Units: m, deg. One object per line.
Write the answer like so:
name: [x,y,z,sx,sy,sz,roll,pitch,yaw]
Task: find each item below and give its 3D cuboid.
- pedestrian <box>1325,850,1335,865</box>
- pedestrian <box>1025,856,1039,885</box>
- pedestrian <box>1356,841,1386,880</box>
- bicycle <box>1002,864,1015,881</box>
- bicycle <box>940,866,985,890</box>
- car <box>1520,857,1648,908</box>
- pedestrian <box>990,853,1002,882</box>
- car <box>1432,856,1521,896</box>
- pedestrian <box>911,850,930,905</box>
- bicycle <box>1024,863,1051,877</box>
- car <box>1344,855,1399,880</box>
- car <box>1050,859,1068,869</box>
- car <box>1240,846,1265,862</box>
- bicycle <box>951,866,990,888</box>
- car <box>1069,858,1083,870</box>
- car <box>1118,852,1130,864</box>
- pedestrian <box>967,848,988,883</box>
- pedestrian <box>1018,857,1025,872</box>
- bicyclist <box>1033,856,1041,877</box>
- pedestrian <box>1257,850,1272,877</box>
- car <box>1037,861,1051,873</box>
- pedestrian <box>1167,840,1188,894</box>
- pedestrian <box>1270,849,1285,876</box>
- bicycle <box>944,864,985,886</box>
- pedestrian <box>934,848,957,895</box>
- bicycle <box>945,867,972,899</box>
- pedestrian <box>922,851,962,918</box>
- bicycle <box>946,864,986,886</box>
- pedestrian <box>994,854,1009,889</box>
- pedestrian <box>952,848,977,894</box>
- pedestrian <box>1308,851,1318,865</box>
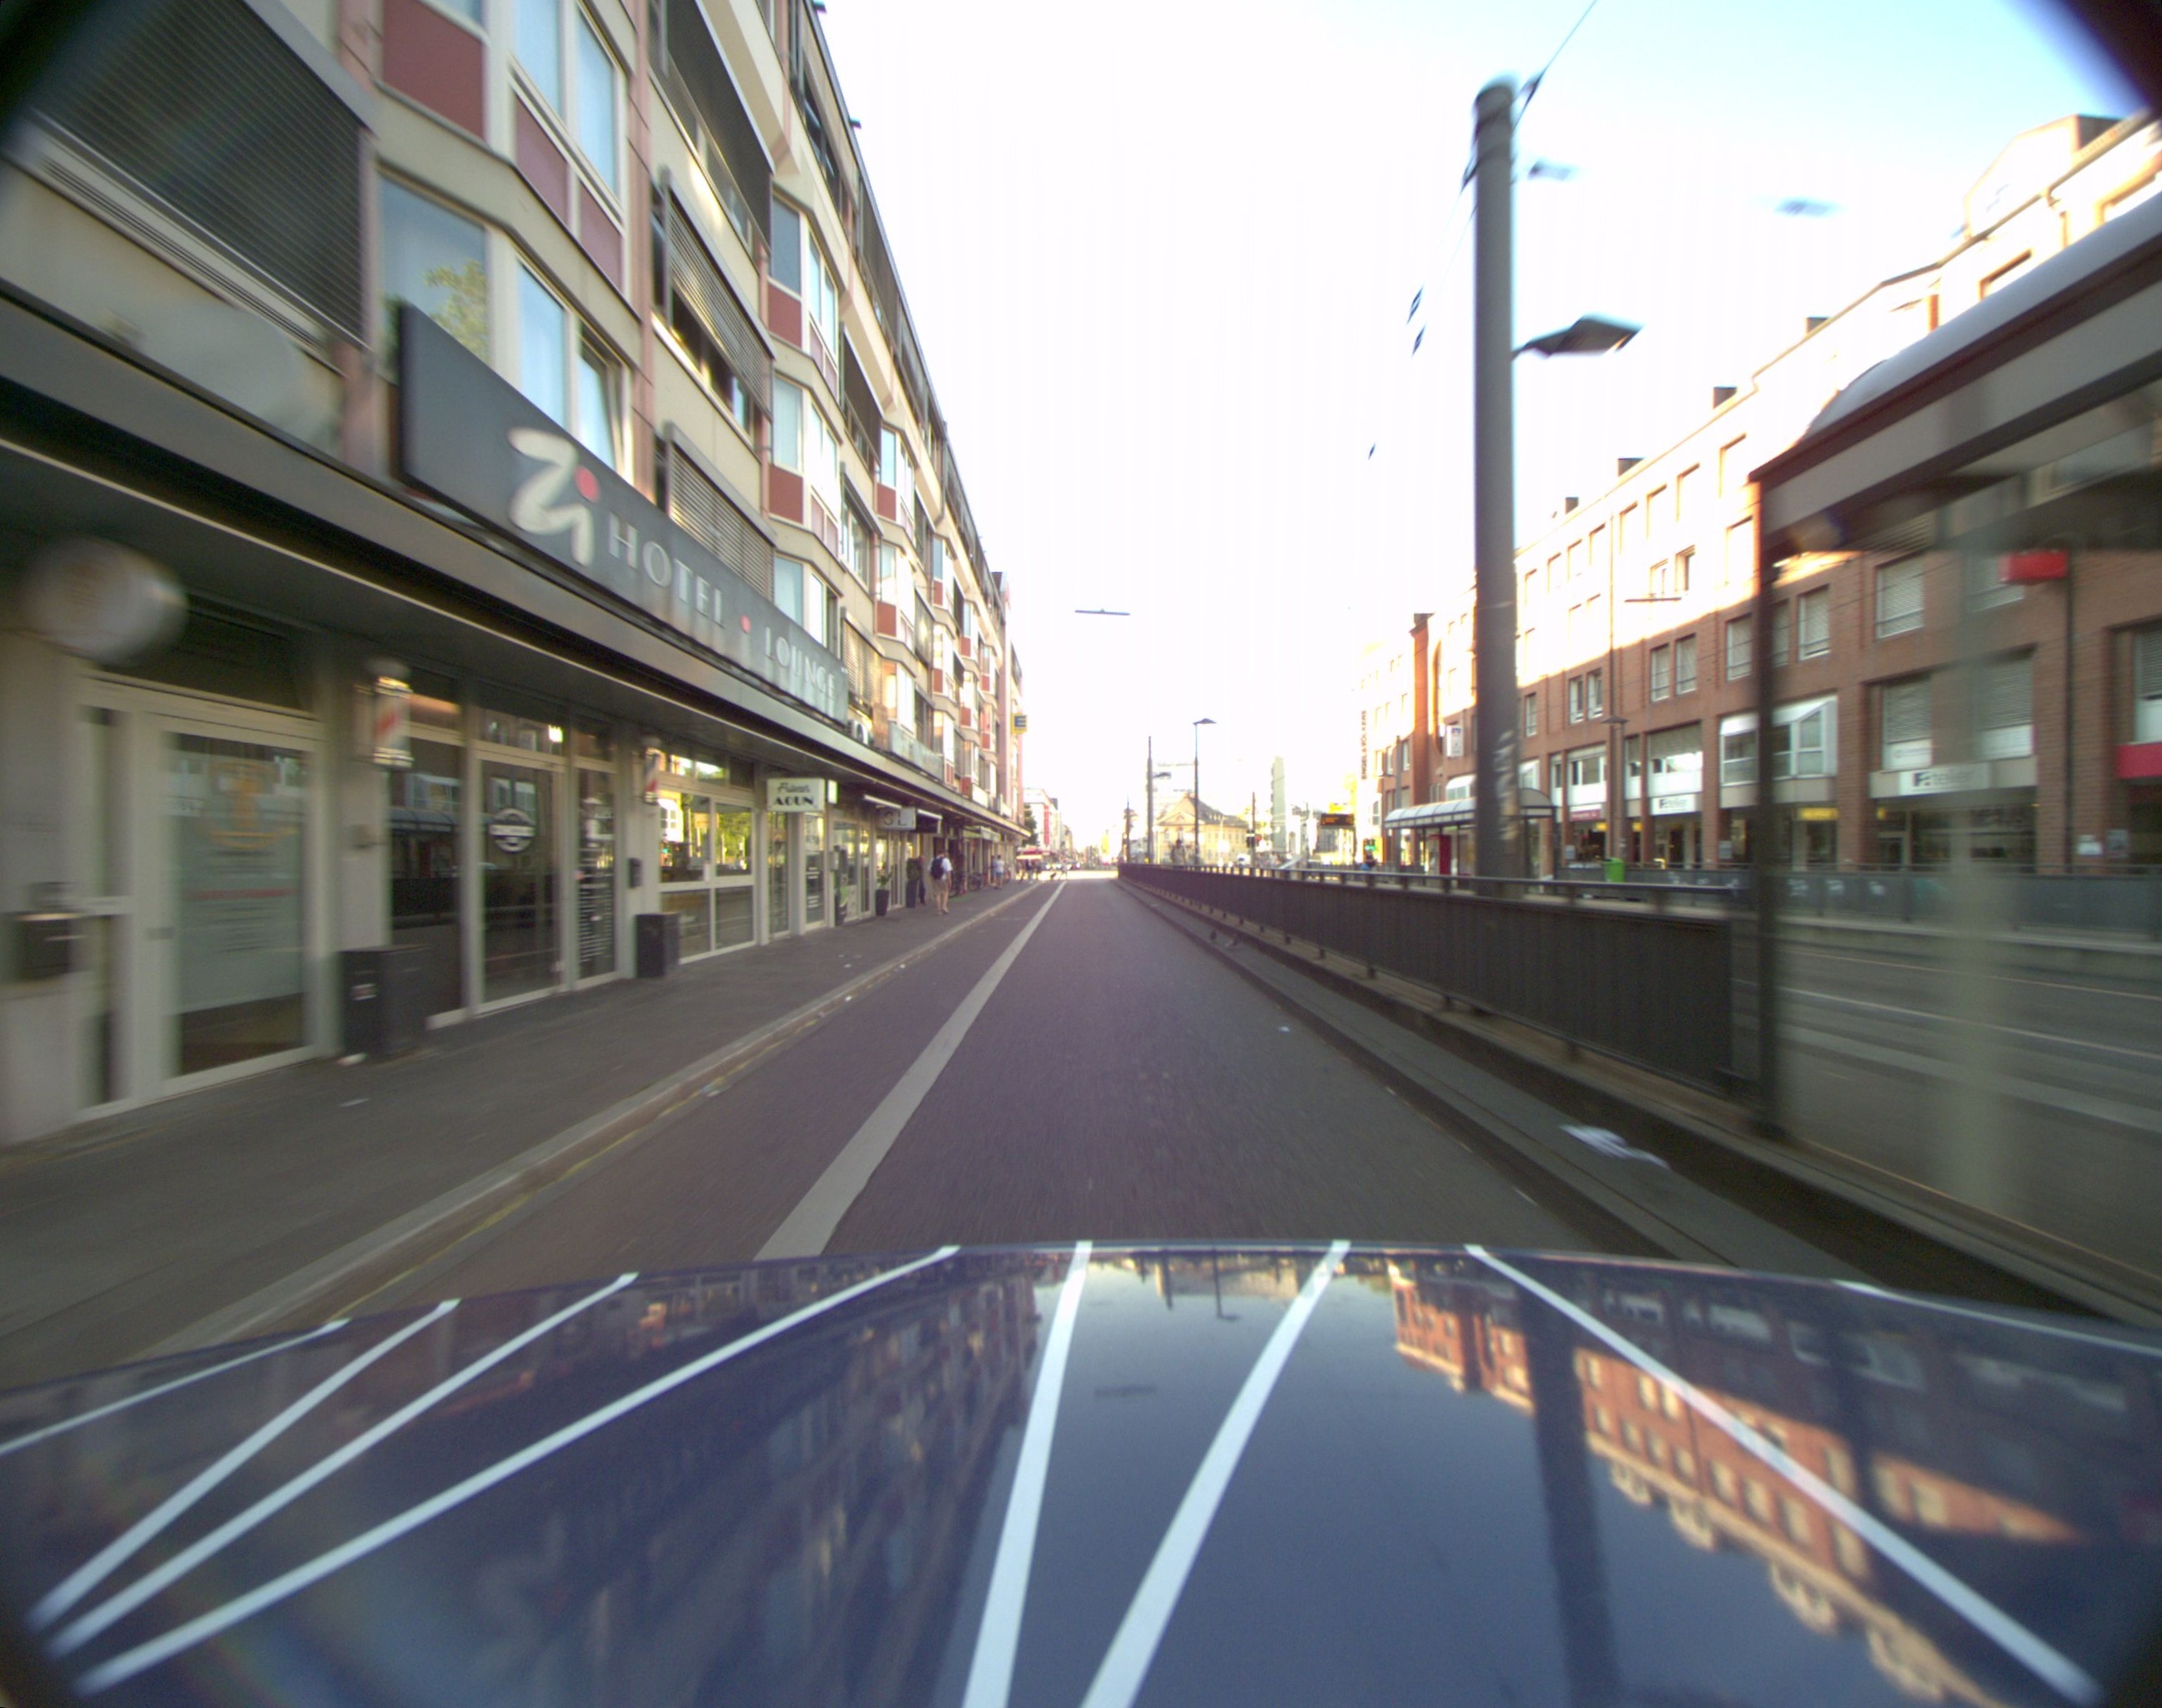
pedestrian: [35.457,0.476,108.125,1.011,2.002,0.991,-3,1,34]
pedestrian: [-2.986,1.008,46.643,0.807,1.805,0.733,-1,1,-3]
pedestrian: [12.513,0.277,32.837,0.913,1.652,0.967,-1,1,-1]
bicycle: [-4.438,1.134,46.535,0.678,0.971,1.842,4,0,-3]
bicycle: [-5.368,1.068,34.441,1.929,1.054,0.576,1,1,0]
car: [18.590,0.991,28.347,1.914,1.585,4.289,1,2,1]
pedestrian: [-4.704,0.751,41.889,0.407,1.586,0.462,3,1,28]
car: [18.399,0.974,35.568,1.914,1.585,4.289,1,2,1]
pedestrian: [-4.893,0.718,23.211,0.543,1.664,0.468,0,1,-9]
bicycle: [-3.534,1.302,61.617,2.176,1.117,0.768,-1,1,-4]
car: [18.598,0.850,48.796,1.906,1.520,4.120,0,0,-1]
car: [-3.872,1.738,132.461,1.974,1.664,4.869,-2,0,-16]
car: [34.204,0.033,151.493,2.535,3.031,6.387,2,2,37]
bicycle: [-5.196,1.080,35.801,1.734,0.968,0.506,2,1,5]
car: [-0.779,1.559,119.148,1.971,1.664,4.875,-2,0,0]
car: [9.825,0.935,173.082,2.540,2.440,5.424,-2,0,5]
pedestrian: [-5.431,0.608,39.829,0.734,1.805,0.805,-1,1,-37]
pedestrian: [-8.012,1.457,102.609,0.747,2.002,1.070,-3,1,-13]
bicyclist: [-3.592,0.992,61.645,0.637,1.668,0.768,-1,1,-4]
pedestrian: [12.374,0.631,51.308,0.859,1.757,0.812,-3,1,12]
car: [-5.564,1.926,114.965,1.972,1.664,4.874,-2,0,-3]
pedestrian: [3.231,0.426,25.469,0.584,1.781,0.606,-1,1,-2]
pedestrian: [13.268,0.583,51.268,0.859,1.757,0.812,-3,1,12]
bicycle: [-5.734,1.043,37.569,1.929,1.054,0.576,1,1,-3]
pedestrian: [-5.379,0.685,30.194,0.780,1.856,0.686,1,1,-20]
bicycle: [-4.588,1.069,28.598,0.659,1.061,1.794,4,0,-1]
pedestrian: [-3.697,0.790,20.305,0.800,1.712,1.061,2,1,1]
bicycle: [-5.761,1.044,38.229,1.929,1.054,0.576,1,1,-3]
pedestrian: [-3.849,0.845,36.957,0.634,1.664,0.771,0,1,0]
pedestrian: [-4.754,0.685,31.083,0.917,1.856,0.779,1,1,-3]
pedestrian: [33.033,0.547,108.402,1.073,2.002,0.989,-3,1,4]
